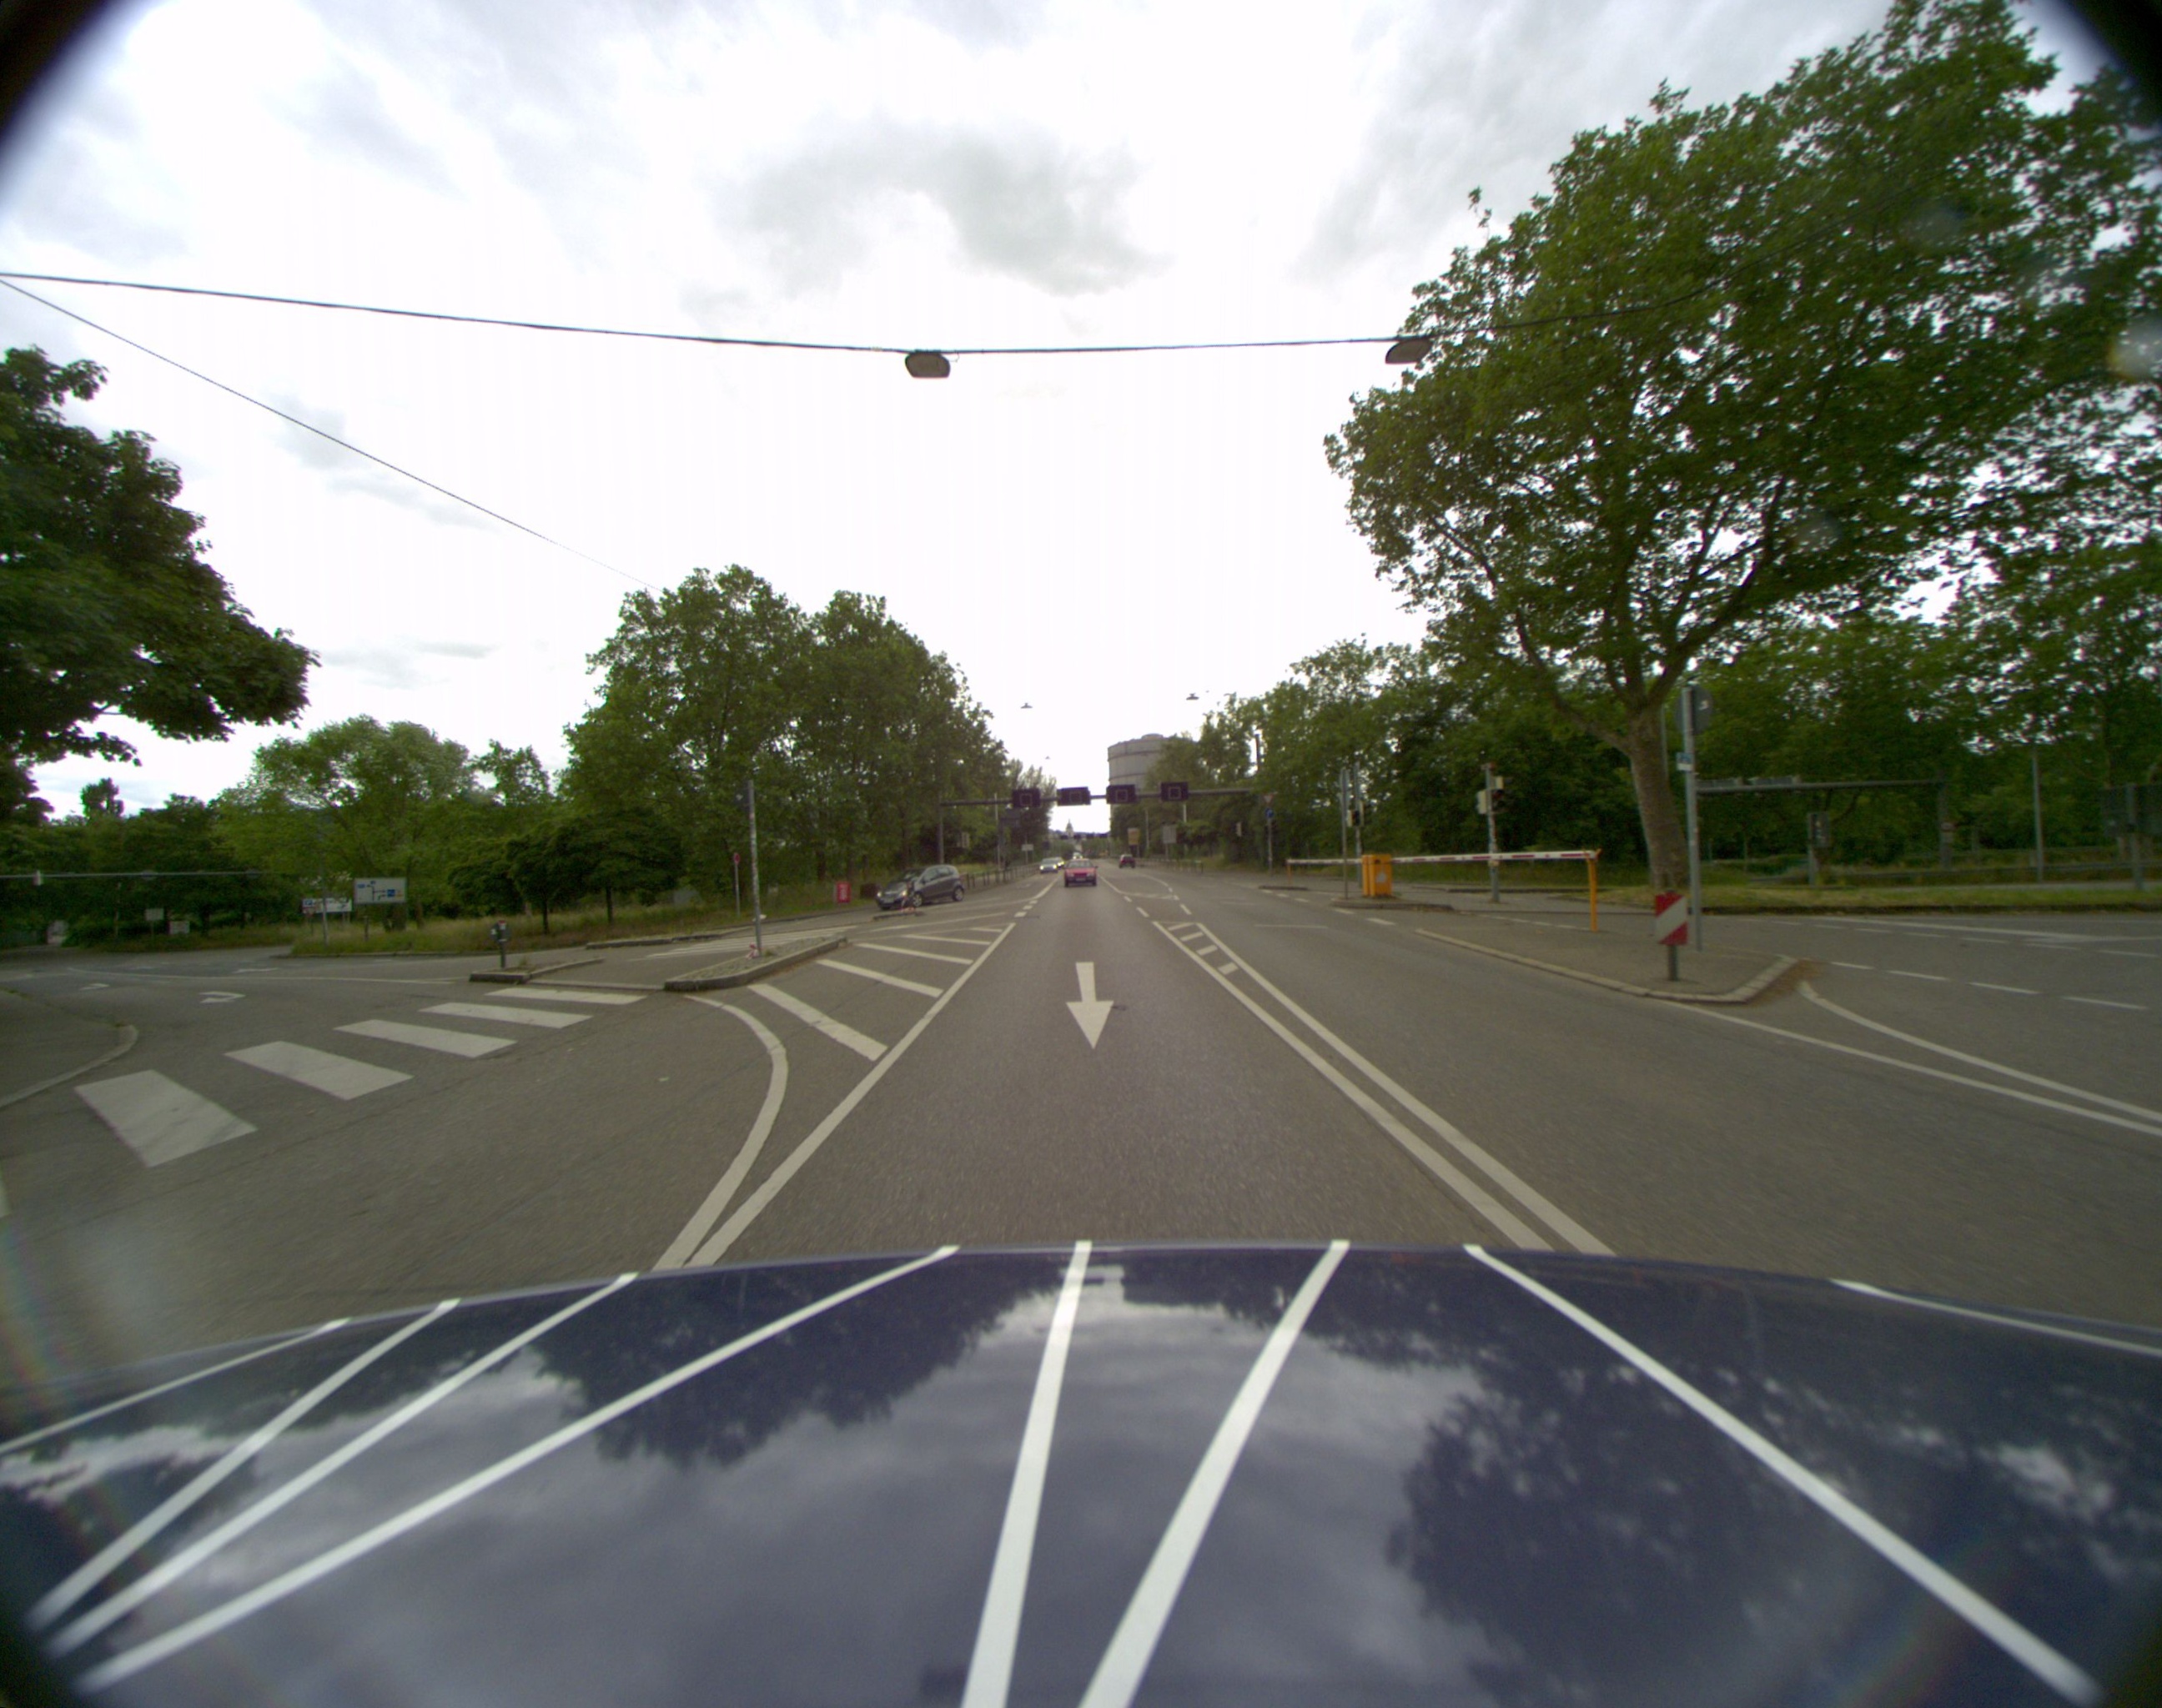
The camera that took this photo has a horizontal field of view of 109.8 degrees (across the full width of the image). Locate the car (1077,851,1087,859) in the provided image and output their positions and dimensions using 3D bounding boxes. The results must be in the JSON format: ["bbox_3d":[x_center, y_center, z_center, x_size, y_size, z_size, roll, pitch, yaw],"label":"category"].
[{"bbox_3d":[0.219,0.217,180.435,1.998,1.792,4.001,-4,0,3],"label":"car"}]

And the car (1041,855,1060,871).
[{"bbox_3d":[-3.208,0.955,80.544,1.771,1.565,4.000,-2,0,0],"label":"car"}]

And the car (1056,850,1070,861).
[{"bbox_3d":[-2.924,0.272,122.513,1.998,1.775,4.001,-2,-1,1],"label":"car"}]

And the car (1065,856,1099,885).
[{"bbox_3d":[0.038,0.862,40.665,1.696,1.434,4.000,-1,-1,0],"label":"car"}]

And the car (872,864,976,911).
[{"bbox_3d":[-6.208,1.305,30.477,1.828,1.606,4.041,-3,-1,28],"label":"car"}]

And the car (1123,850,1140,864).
[{"bbox_3d":[6.259,0.309,94.553,1.998,1.650,4.518,-1,0,3],"label":"car"}]
